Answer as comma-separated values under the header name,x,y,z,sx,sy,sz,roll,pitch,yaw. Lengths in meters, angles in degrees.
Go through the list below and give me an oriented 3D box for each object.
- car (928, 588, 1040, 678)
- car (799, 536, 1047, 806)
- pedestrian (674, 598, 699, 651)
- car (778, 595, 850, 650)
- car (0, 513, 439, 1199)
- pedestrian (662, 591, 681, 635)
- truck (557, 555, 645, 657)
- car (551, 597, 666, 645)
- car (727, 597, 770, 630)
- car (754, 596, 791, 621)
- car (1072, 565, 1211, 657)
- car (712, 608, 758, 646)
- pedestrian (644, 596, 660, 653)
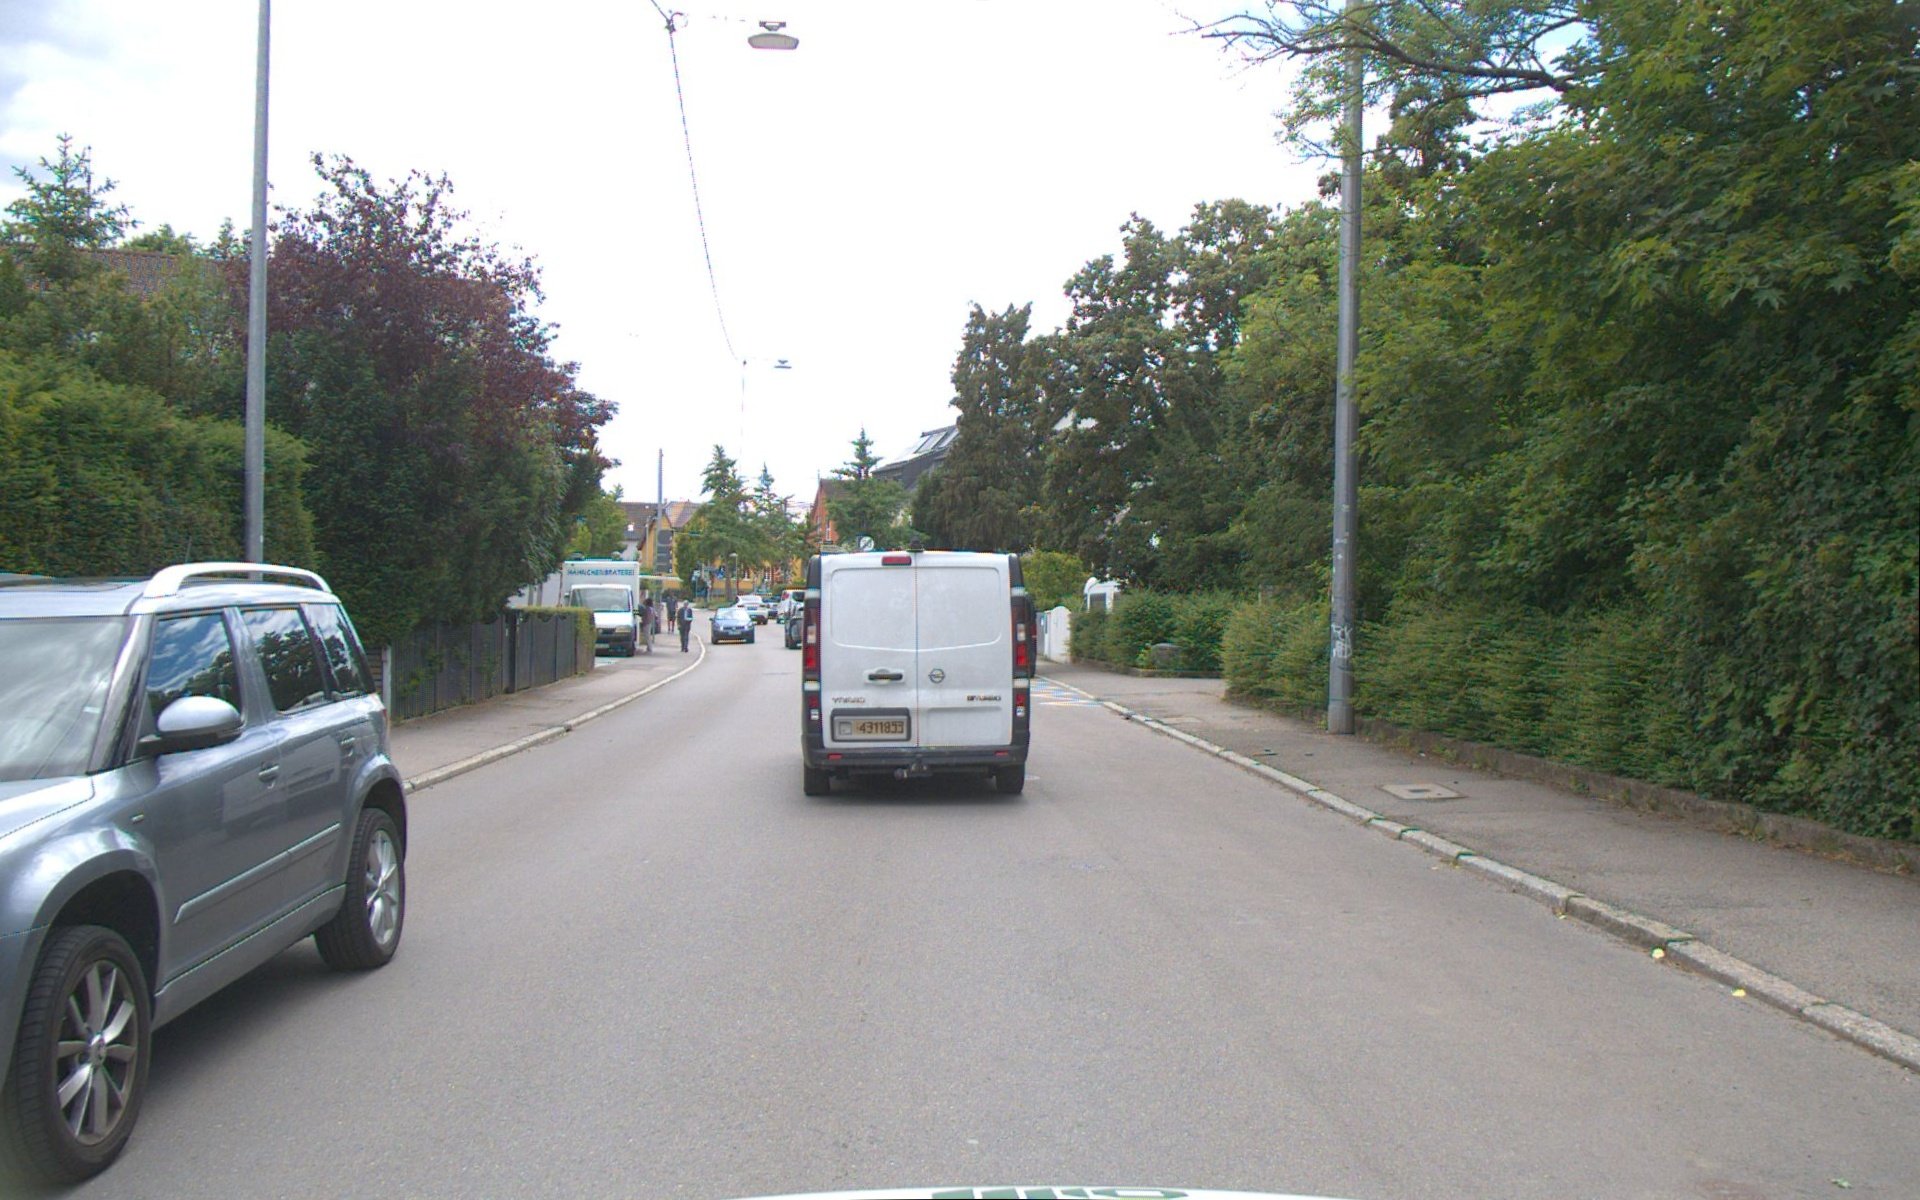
name,x,y,z,sx,sy,sz,roll,pitch,yaw
car,0.462,0.715,37.473,1.872,1.881,5.150,1,-1,-6
car,-0.489,0.549,14.765,1.879,2.038,4.432,0,-1,-6
pedestrian,-9.121,0.823,55.181,0.709,1.716,1.108,2,-1,-6
car,-5.290,0.788,59.579,1.960,1.880,3.984,0,0,-15
car,-3.213,0.697,5.528,1.804,1.684,4.135,-2,0,-4
pedestrian,-13.478,0.610,77.332,0.719,1.980,1.216,2,-1,-6
truck,-10.854,0.192,50.320,2.429,2.890,6.688,1,0,-11
car,-14.138,0.834,66.459,4.250,1.725,1.786,3,-1,-22
car,-12.073,0.779,94.161,1.960,1.813,3.984,-1,0,-15
car,-12.363,0.547,108.652,1.714,1.521,3.637,3,-1,-17
car,5.762,0.347,53.283,2.459,2.729,5.160,3,-1,-18
car,-9.331,1.103,68.793,1.661,1.457,3.922,4,-1,-6
pedestrian,-9.493,0.762,50.921,0.394,1.724,0.595,3,-1,-12
